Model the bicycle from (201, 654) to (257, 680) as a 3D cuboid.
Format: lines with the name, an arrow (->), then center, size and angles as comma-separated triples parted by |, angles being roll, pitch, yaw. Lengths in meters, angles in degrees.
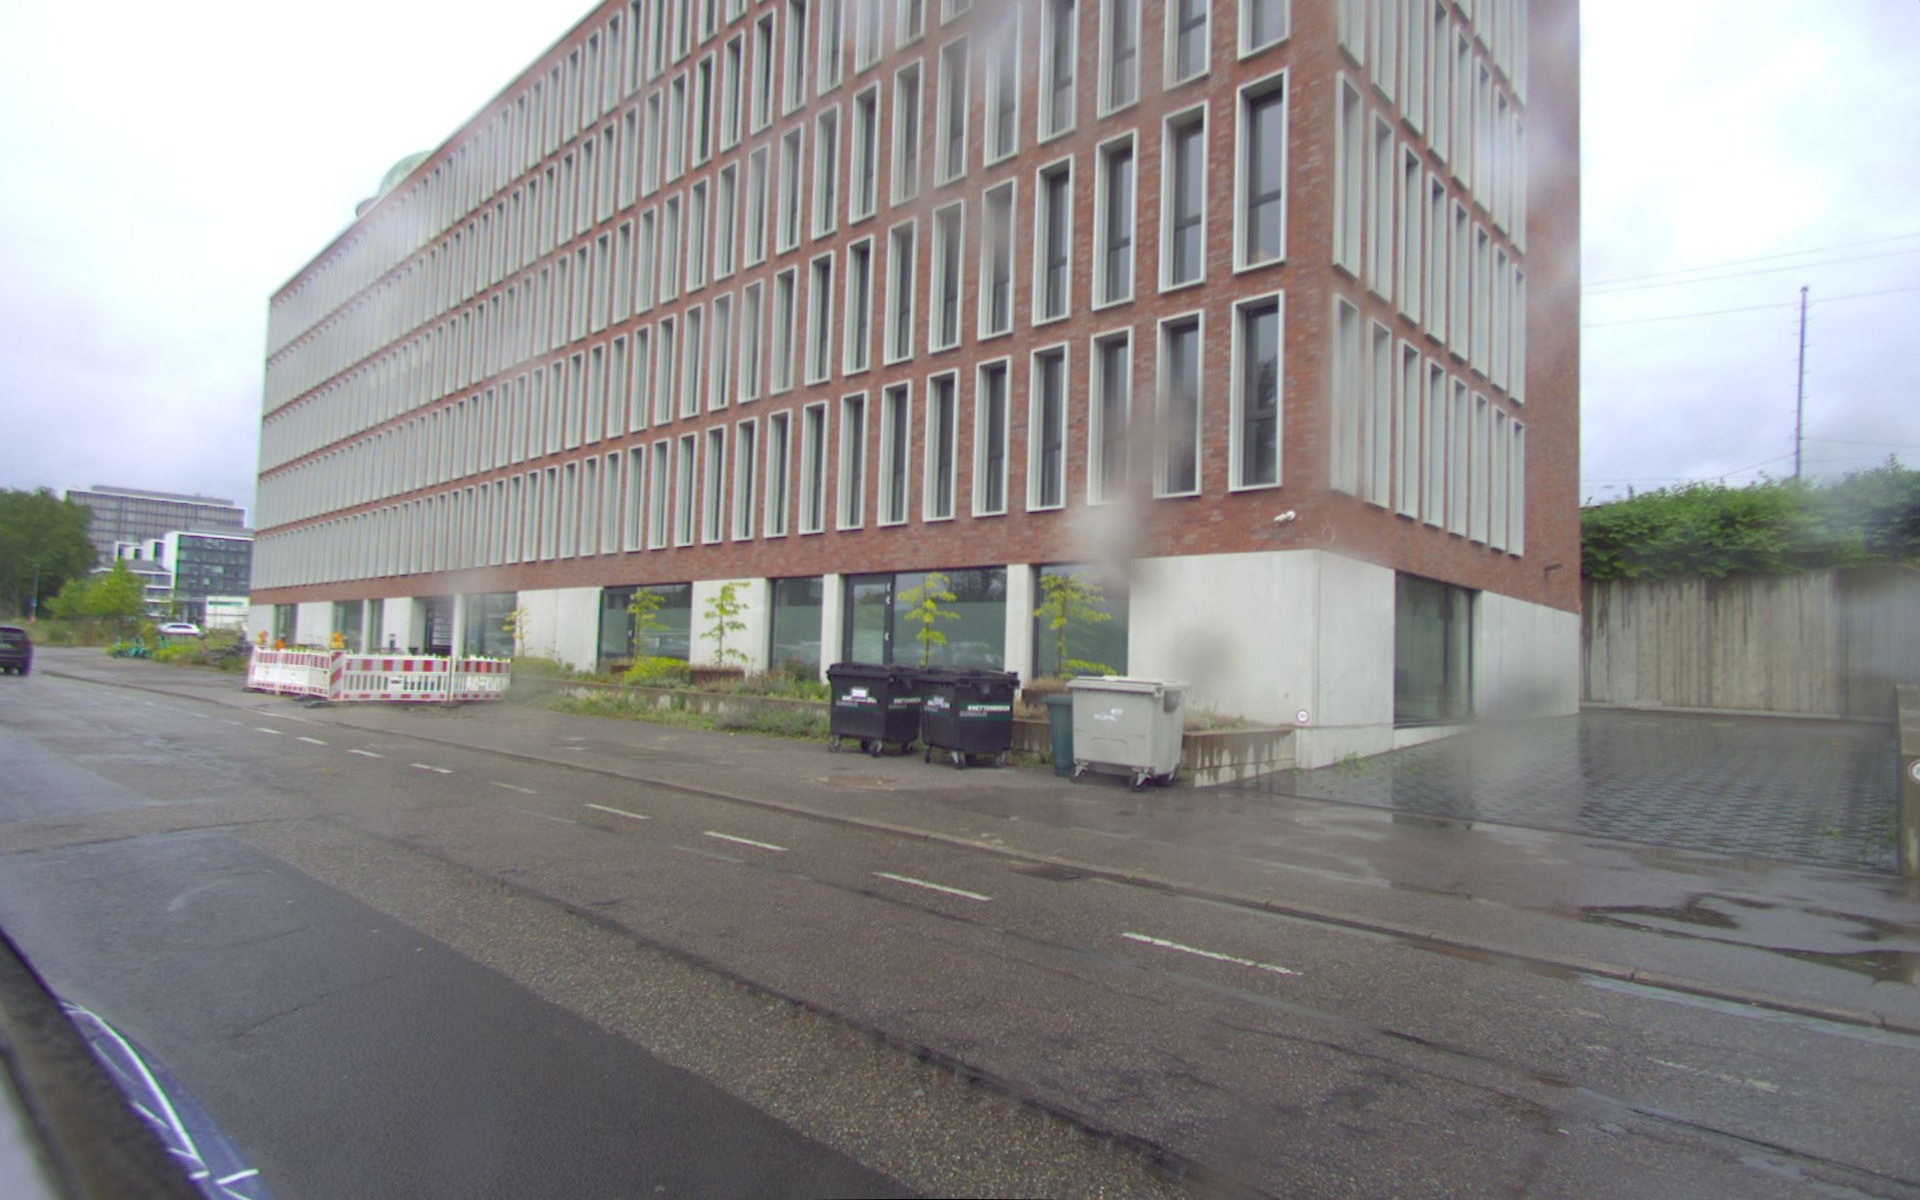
bicycle -> -31.559, 2.887, 43.728 | 0.544, 1.085, 1.840 | 0, -3, 39

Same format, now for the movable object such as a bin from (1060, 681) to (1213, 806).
movable object such as a bin -> 2.155, 1.689, 12.307 | 1.357, 1.342, 1.282 | -1, -5, 39

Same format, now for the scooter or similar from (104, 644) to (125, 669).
scooter or similar -> -42.873, 2.853, 51.313 | 1.319, 1.239, 0.461 | -1, -5, 38

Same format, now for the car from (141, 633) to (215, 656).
car -> -64.784, 3.678, 83.892 | 1.997, 1.653, 4.478 | 0, -4, 38

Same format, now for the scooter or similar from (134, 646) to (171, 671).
scooter or similar -> -40.450, 2.921, 50.692 | 0.465, 1.186, 1.308 | 0, -5, 29

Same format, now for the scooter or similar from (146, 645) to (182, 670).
scooter or similar -> -41.055, 2.976, 52.203 | 1.301, 1.186, 0.468 | 7, -6, -43

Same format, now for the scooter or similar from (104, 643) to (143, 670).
scooter or similar -> -40.944, 2.772, 49.545 | 1.298, 1.239, 0.469 | 4, -5, -20

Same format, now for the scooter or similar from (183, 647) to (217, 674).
scooter or similar -> -37.018, 2.952, 49.277 | 1.211, 1.217, 0.418 | 6, -6, -42

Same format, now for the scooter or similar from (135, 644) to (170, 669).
scooter or similar -> -41.717, 2.923, 52.296 | 1.301, 1.186, 0.468 | 7, -6, -43

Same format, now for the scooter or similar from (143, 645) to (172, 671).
scooter or similar -> -39.700, 2.870, 50.076 | 0.460, 1.239, 1.209 | 3, -4, -7

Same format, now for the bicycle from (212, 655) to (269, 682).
bicycle -> -30.408, 2.886, 42.785 | 0.544, 1.085, 1.840 | 0, -3, 39

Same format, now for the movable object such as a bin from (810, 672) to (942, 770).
movable object such as a bin -> -1.235, 1.764, 15.055 | 1.445, 1.318, 1.284 | -1, -4, 35

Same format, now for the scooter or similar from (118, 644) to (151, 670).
scooter or similar -> -41.515, 2.861, 50.902 | 1.307, 1.239, 0.465 | 2, -4, 13

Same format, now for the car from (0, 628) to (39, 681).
car -> -31.337, 1.677, 32.391 | 4.139, 1.581, 1.744 | 0, -6, 35

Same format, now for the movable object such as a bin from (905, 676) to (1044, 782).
movable object such as a bin -> 0.175, 1.738, 13.943 | 1.355, 1.318, 1.453 | 4, -4, -27

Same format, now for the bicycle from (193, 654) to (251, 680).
bicycle -> -32.222, 2.902, 44.227 | 0.620, 1.085, 1.928 | 0, -3, 40

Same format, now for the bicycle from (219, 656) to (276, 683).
bicycle -> -29.736, 2.884, 42.246 | 0.544, 1.085, 1.840 | 0, -3, 39

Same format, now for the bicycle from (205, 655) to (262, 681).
bicycle -> -31.084, 2.890, 43.322 | 0.544, 1.085, 1.840 | 0, -3, 39
